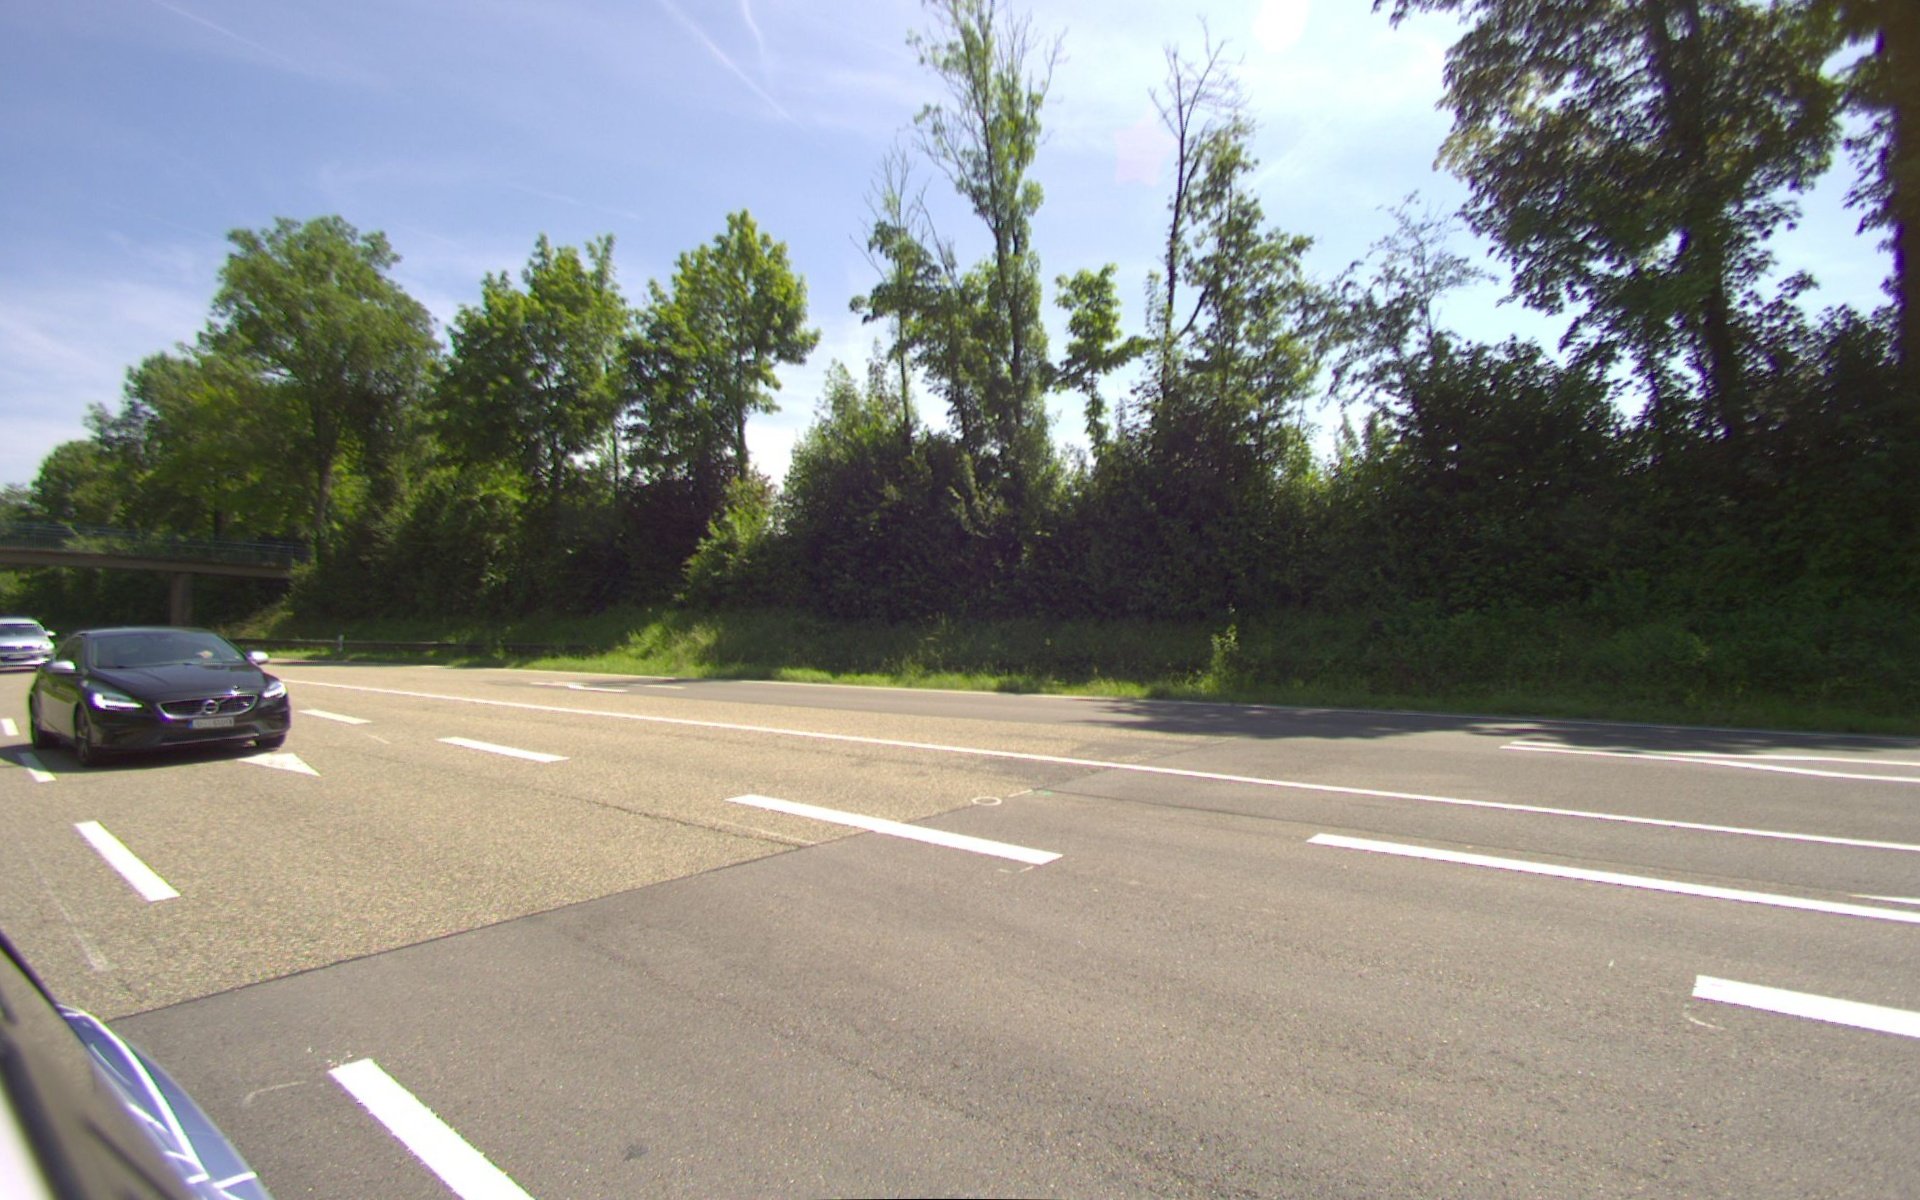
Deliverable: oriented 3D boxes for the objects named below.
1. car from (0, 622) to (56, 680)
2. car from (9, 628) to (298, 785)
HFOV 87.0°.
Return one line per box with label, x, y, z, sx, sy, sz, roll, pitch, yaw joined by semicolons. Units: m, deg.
car;-29.946;1.584;31.775;4.289;1.682;1.786;-2;-1;41
car;-9.224;1.041;11.445;4.398;1.409;1.669;-1;-1;39
